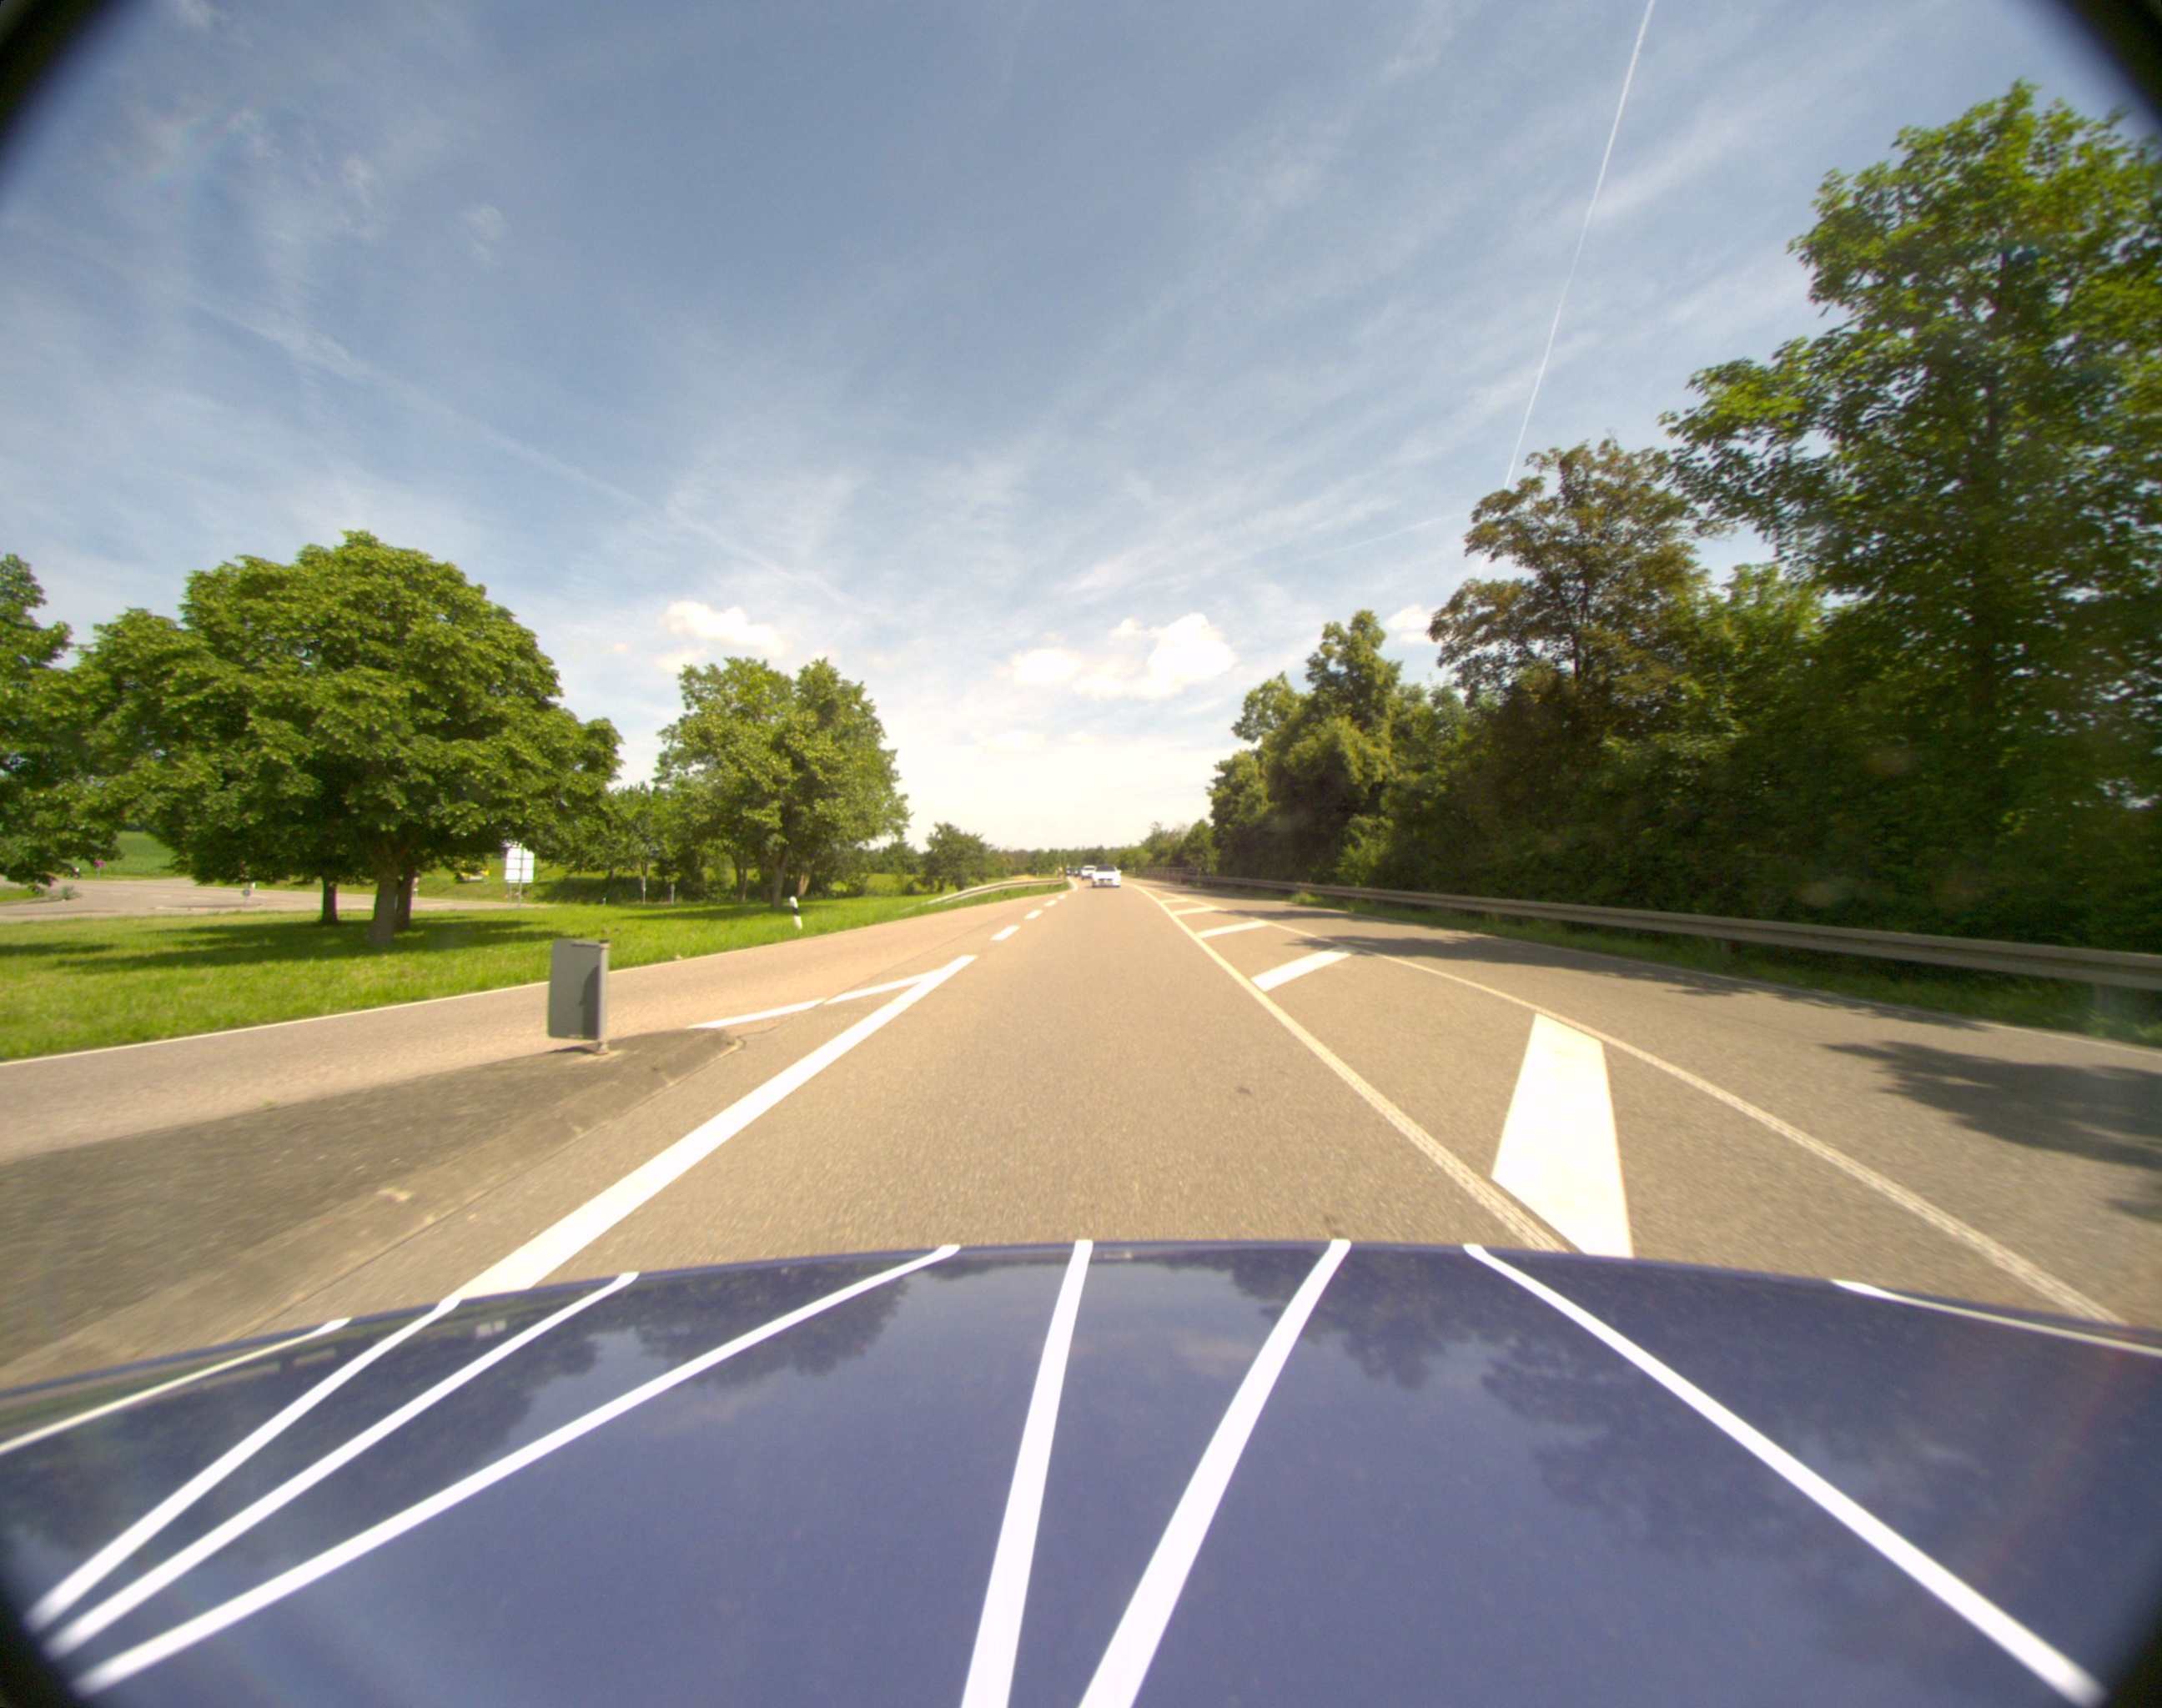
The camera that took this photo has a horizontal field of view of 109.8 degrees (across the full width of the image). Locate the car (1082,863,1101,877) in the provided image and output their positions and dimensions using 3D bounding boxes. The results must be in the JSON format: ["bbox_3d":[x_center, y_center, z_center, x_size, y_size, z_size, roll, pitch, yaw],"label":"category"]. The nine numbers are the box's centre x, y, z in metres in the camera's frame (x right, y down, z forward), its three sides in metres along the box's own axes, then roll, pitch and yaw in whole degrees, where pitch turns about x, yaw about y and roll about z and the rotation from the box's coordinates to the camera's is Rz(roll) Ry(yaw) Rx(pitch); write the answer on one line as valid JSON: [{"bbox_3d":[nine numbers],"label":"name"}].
[{"bbox_3d":[1.106,1.700,82.668,1.929,1.441,4.000,0,-1,-1],"label":"car"}]

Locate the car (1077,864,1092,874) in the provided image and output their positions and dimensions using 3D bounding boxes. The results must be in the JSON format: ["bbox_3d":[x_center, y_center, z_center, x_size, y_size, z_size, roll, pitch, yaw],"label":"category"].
[{"bbox_3d":[0.512,2.074,106.313,1.929,1.441,4.076,0,-1,-2],"label":"car"}]

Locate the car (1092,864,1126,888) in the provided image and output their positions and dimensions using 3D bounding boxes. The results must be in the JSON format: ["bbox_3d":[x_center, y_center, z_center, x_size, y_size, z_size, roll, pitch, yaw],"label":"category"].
[{"bbox_3d":[1.801,1.385,49.810,1.929,1.441,4.534,-1,0,-1],"label":"car"}]

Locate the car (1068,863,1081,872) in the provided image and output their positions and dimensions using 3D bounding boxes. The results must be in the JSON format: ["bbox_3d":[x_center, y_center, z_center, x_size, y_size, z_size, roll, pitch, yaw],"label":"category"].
[{"bbox_3d":[-1.111,2.308,127.323,1.930,1.441,3.999,0,-1,-3],"label":"car"}]
